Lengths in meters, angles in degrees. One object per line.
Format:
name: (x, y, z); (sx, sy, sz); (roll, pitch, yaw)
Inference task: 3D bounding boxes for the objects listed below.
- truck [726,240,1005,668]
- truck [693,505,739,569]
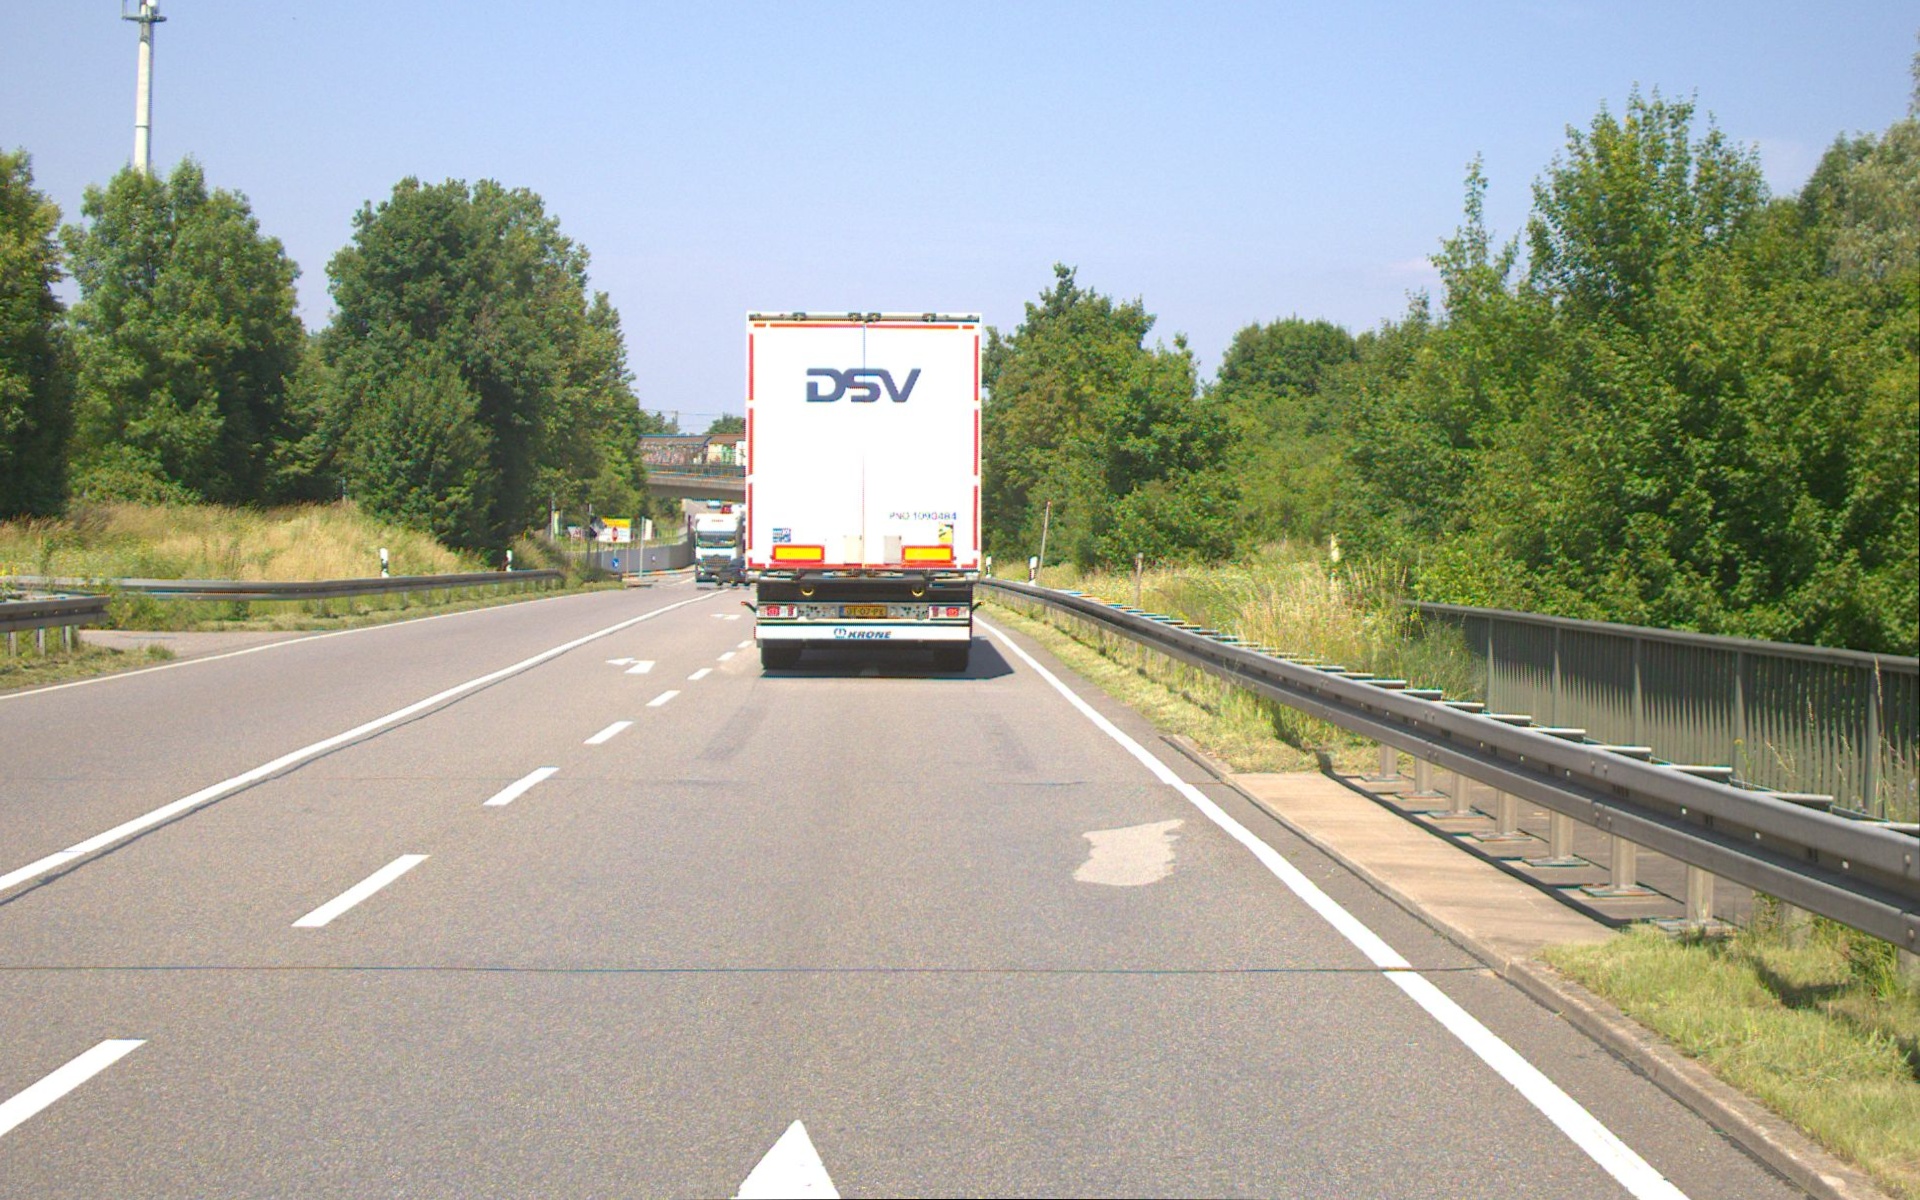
truck: (-1.104, -1.616, 41.841); (2.950, 4.553, 9.863); (1, 1, -1)
truck: (-14.684, -3.791, 207.420); (2.353, 3.737, 12.627); (0, 1, -2)
